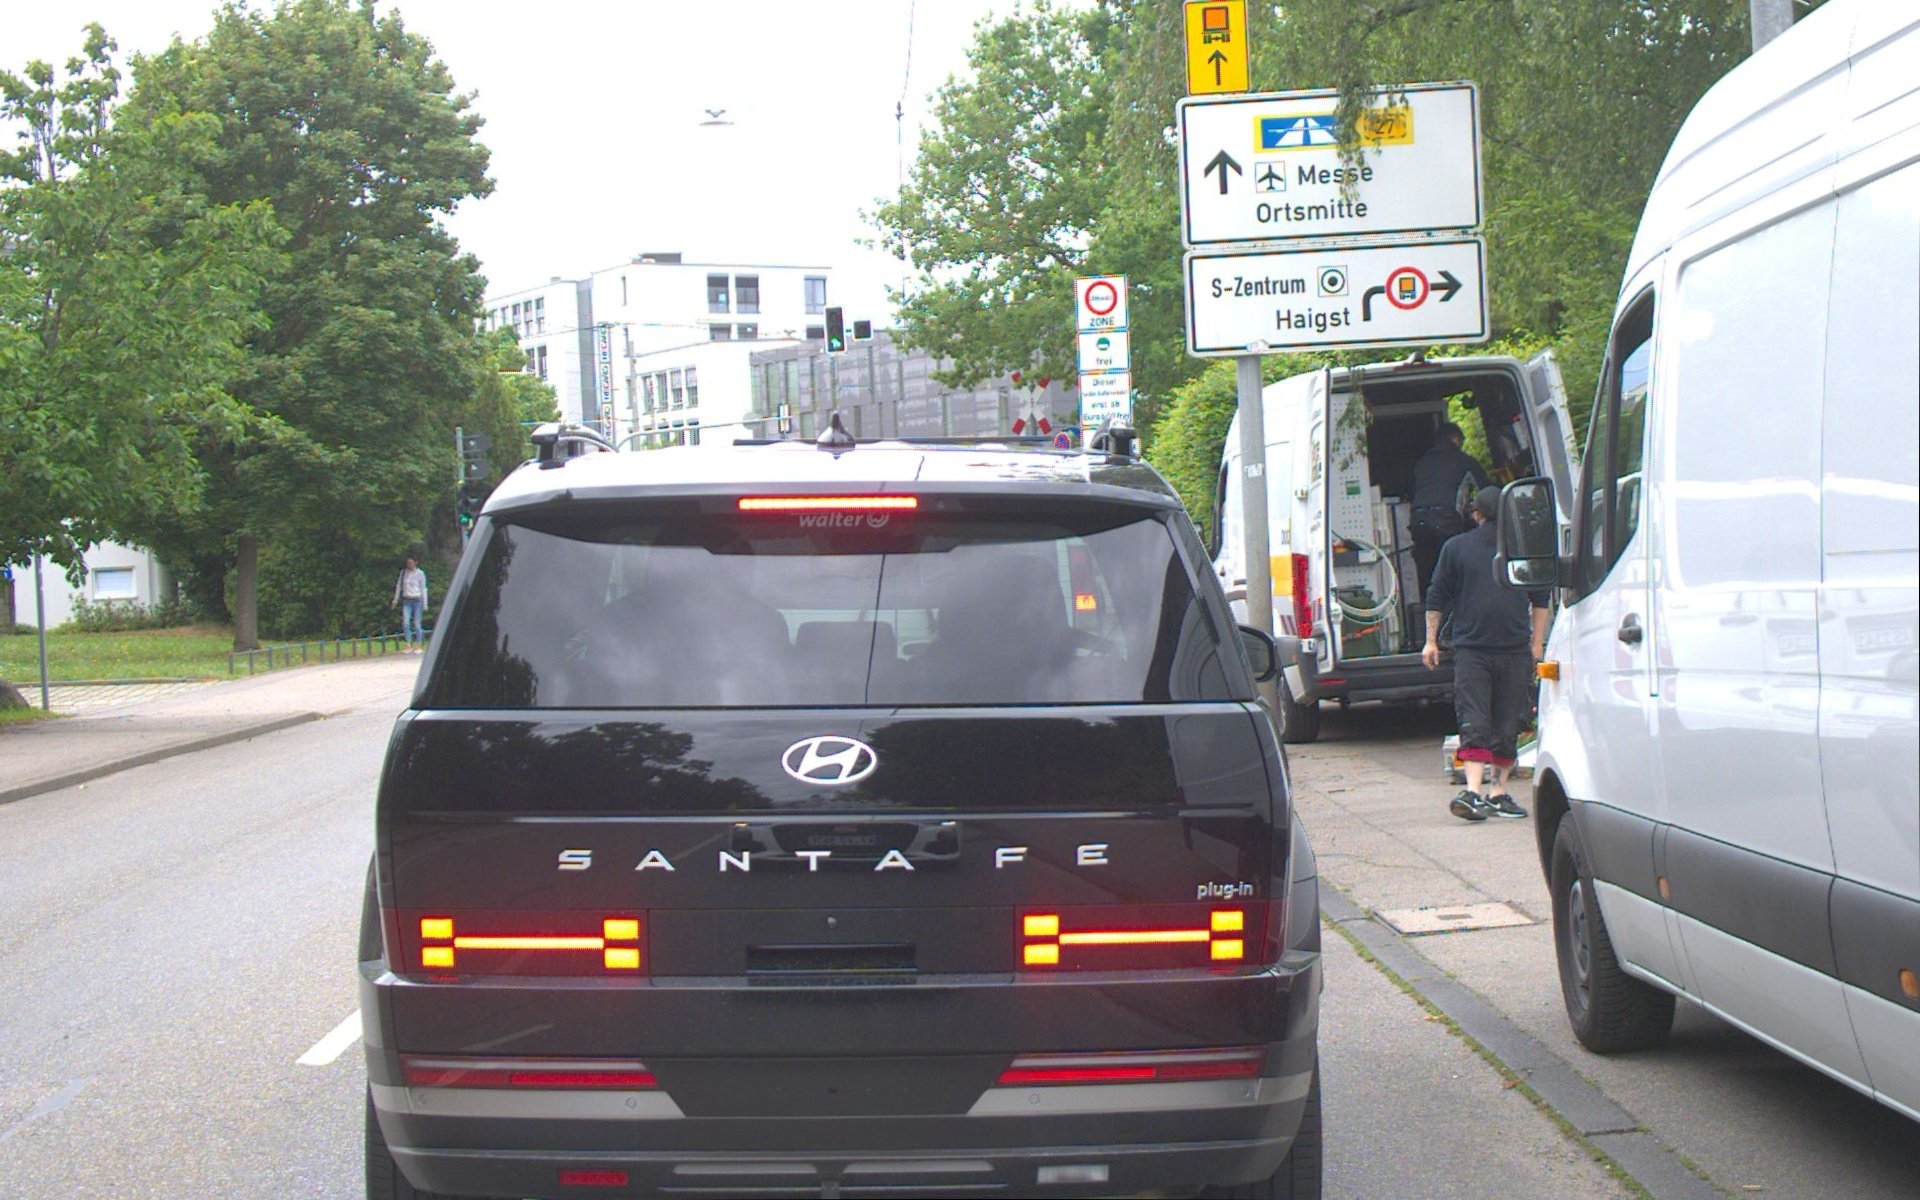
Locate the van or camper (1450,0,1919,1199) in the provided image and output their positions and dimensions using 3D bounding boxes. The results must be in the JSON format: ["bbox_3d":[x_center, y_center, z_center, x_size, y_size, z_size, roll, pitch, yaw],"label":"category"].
[{"bbox_3d":[2.597,-0.015,6.997,1.991,2.616,6.544,-5,1,-1],"label":"van or camper"}]

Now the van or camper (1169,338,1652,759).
[{"bbox_3d":[3.082,-0.326,25.271,2.340,2.486,6.603,-5,0,-1],"label":"van or camper"}]

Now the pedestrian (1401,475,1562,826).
[{"bbox_3d":[2.631,0.248,17.300,0.750,1.715,0.791,-1,0,10],"label":"pedestrian"}]

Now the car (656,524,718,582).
[{"bbox_3d":[-11.465,-1.965,144.212,2.332,2.307,4.959,-2,1,-6],"label":"car"}]

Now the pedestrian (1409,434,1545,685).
[{"bbox_3d":[3.510,-0.274,23.388,0.736,1.638,0.801,-3,0,1],"label":"pedestrian"}]

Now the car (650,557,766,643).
[{"bbox_3d":[-4.566,-0.023,62.780,1.756,1.398,4.414,-4,1,-1],"label":"car"}]

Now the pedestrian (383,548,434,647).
[{"bbox_3d":[-9.902,-0.048,61.739,0.767,1.742,0.904,-1,0,-1],"label":"pedestrian"}]

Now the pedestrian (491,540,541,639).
[{"bbox_3d":[-9.057,-0.218,70.201,0.830,2.007,1.047,1,0,2],"label":"pedestrian"}]

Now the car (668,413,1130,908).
[{"bbox_3d":[-0.278,0.234,16.341,1.897,2.035,3.994,1,1,-1],"label":"car"}]

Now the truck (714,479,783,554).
[{"bbox_3d":[-11.540,-4.508,187.063,3.107,3.846,9.623,-2,1,-6],"label":"truck"}]

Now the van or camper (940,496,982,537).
[{"bbox_3d":[0.052,-4.190,172.482,1.795,1.992,3.824,1,1,-4],"label":"van or camper"}]

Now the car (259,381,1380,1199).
[{"bbox_3d":[-0.264,0.506,7.878,1.897,1.770,3.994,1,1,-1],"label":"car"}]
